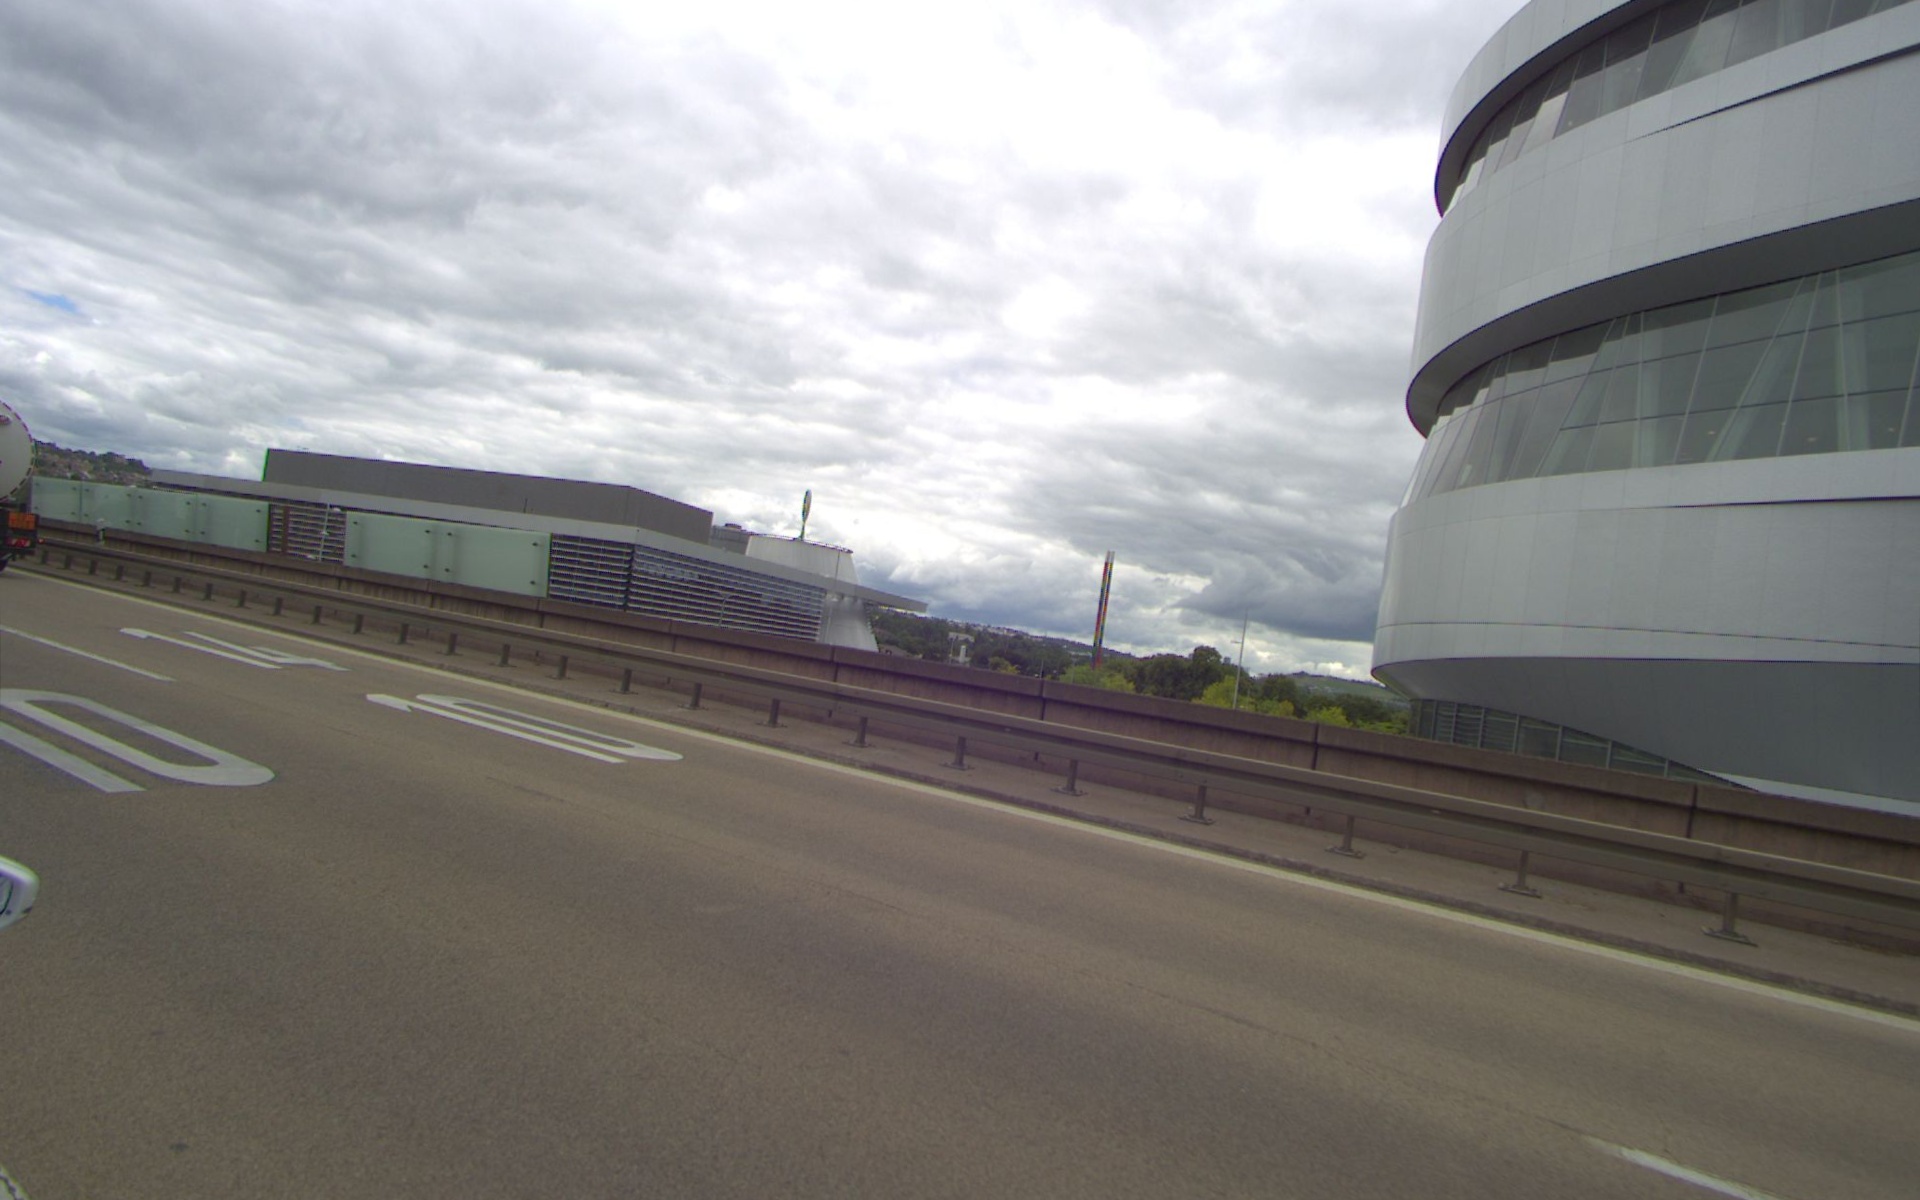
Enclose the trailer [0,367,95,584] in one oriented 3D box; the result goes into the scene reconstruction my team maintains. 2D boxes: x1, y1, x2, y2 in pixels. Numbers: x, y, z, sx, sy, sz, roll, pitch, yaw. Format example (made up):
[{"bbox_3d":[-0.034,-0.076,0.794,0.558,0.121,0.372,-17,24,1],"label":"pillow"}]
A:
[{"bbox_3d":[-21.297,-2.739,20.291,8.164,3.834,3.063,6,-2,30],"label":"trailer"}]
